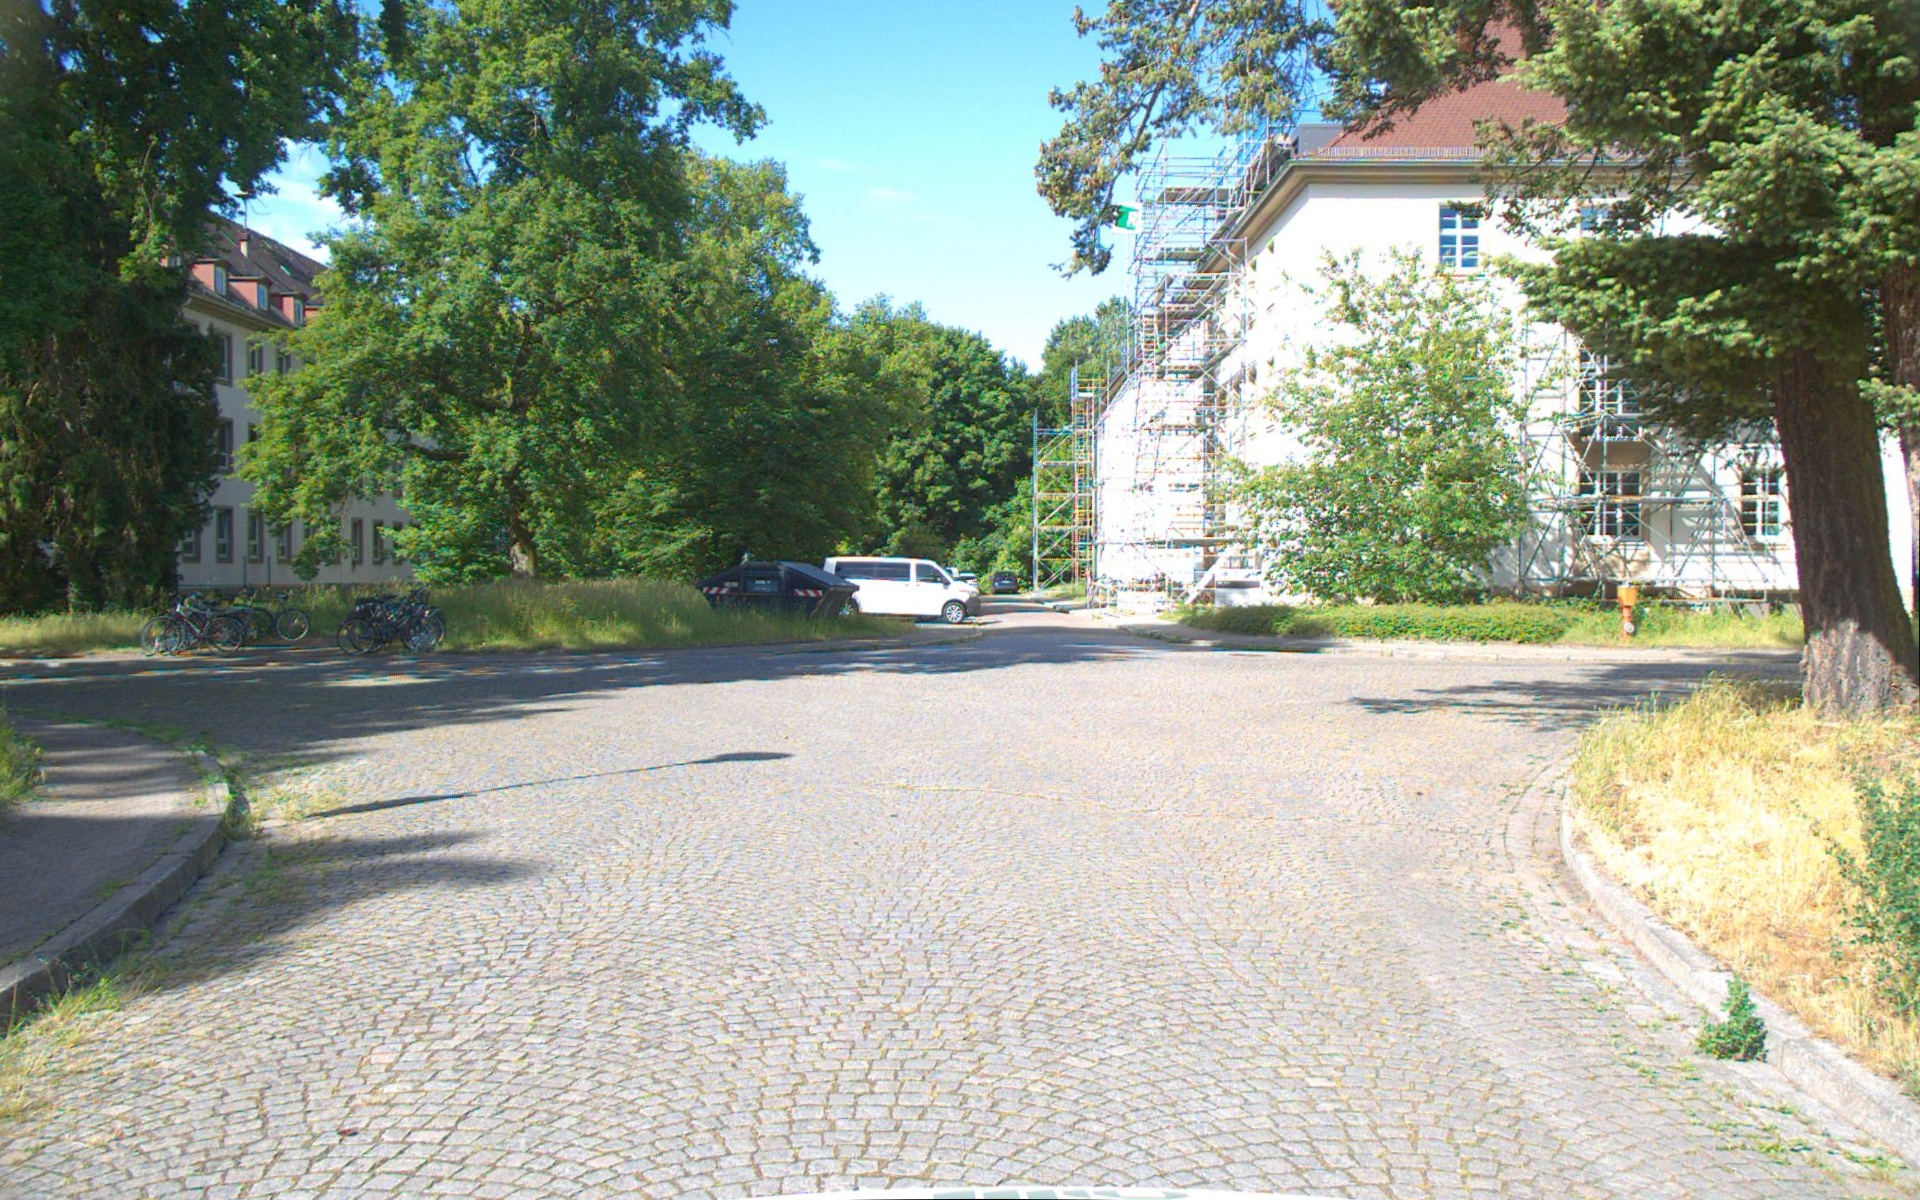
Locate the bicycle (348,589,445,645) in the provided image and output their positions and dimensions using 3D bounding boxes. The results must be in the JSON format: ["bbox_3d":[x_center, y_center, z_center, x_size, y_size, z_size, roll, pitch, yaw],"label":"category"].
[{"bbox_3d":[-11.900,0.343,34.953,1.886,1.076,0.473,-3,2,-22],"label":"bicycle"}]

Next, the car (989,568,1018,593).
[{"bbox_3d":[3.077,-1.396,118.083,1.931,1.697,4.086,-1,1,-1],"label":"car"}]

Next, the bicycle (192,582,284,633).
[{"bbox_3d":[-16.319,0.164,37.422,1.888,1.122,0.566,-1,2,-24],"label":"bicycle"}]

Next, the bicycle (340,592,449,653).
[{"bbox_3d":[-10.870,0.420,31.805,1.893,1.076,0.471,-3,2,-30],"label":"bicycle"}]

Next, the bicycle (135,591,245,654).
[{"bbox_3d":[-14.841,0.425,31.932,1.888,1.122,0.566,-1,3,-25],"label":"bicycle"}]

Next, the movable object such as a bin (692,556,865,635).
[{"bbox_3d":[-4.216,-0.113,38.629,3.491,1.775,2.026,-1,1,18],"label":"movable object such as a bin"}]

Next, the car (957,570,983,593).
[{"bbox_3d":[0.723,-1.313,117.767,1.775,1.607,4.134,-1,1,-1],"label":"car"}]

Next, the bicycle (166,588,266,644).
[{"bbox_3d":[-15.684,0.332,34.885,1.891,1.122,0.565,-1,2,-29],"label":"bicycle"}]

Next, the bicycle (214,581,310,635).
[{"bbox_3d":[-15.159,0.168,35.969,1.884,1.122,0.567,0,2,-20],"label":"bicycle"}]

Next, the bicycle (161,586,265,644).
[{"bbox_3d":[-15.160,0.294,33.588,1.891,1.122,0.565,-1,2,-29],"label":"bicycle"}]

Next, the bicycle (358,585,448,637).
[{"bbox_3d":[-12.672,0.248,37.617,1.886,1.076,0.473,-3,2,-22],"label":"bicycle"}]

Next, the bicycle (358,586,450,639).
[{"bbox_3d":[-12.332,0.259,36.715,1.886,1.076,0.473,-3,2,-22],"label":"bicycle"}]

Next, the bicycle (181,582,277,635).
[{"bbox_3d":[-16.111,0.176,36.479,1.884,1.122,0.567,0,2,-20],"label":"bicycle"}]

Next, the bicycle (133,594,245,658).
[{"bbox_3d":[-14.628,0.485,31.440,1.888,1.122,0.566,-1,3,-25],"label":"bicycle"}]

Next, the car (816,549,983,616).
[{"bbox_3d":[-1.851,-0.542,51.739,5.128,2.051,1.950,0,1,-1],"label":"car"}]

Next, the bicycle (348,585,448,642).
[{"bbox_3d":[-11.598,0.268,34.142,1.887,1.076,0.472,-3,2,-23],"label":"bicycle"}]

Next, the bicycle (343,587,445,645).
[{"bbox_3d":[-11.414,0.313,33.354,1.887,1.076,0.472,-3,2,-23],"label":"bicycle"}]

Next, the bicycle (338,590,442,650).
[{"bbox_3d":[-11.303,0.385,32.793,1.887,1.076,0.472,-3,2,-23],"label":"bicycle"}]

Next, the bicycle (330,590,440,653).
[{"bbox_3d":[-10.856,0.395,31.249,1.893,1.076,0.471,-3,2,-30],"label":"bicycle"}]
